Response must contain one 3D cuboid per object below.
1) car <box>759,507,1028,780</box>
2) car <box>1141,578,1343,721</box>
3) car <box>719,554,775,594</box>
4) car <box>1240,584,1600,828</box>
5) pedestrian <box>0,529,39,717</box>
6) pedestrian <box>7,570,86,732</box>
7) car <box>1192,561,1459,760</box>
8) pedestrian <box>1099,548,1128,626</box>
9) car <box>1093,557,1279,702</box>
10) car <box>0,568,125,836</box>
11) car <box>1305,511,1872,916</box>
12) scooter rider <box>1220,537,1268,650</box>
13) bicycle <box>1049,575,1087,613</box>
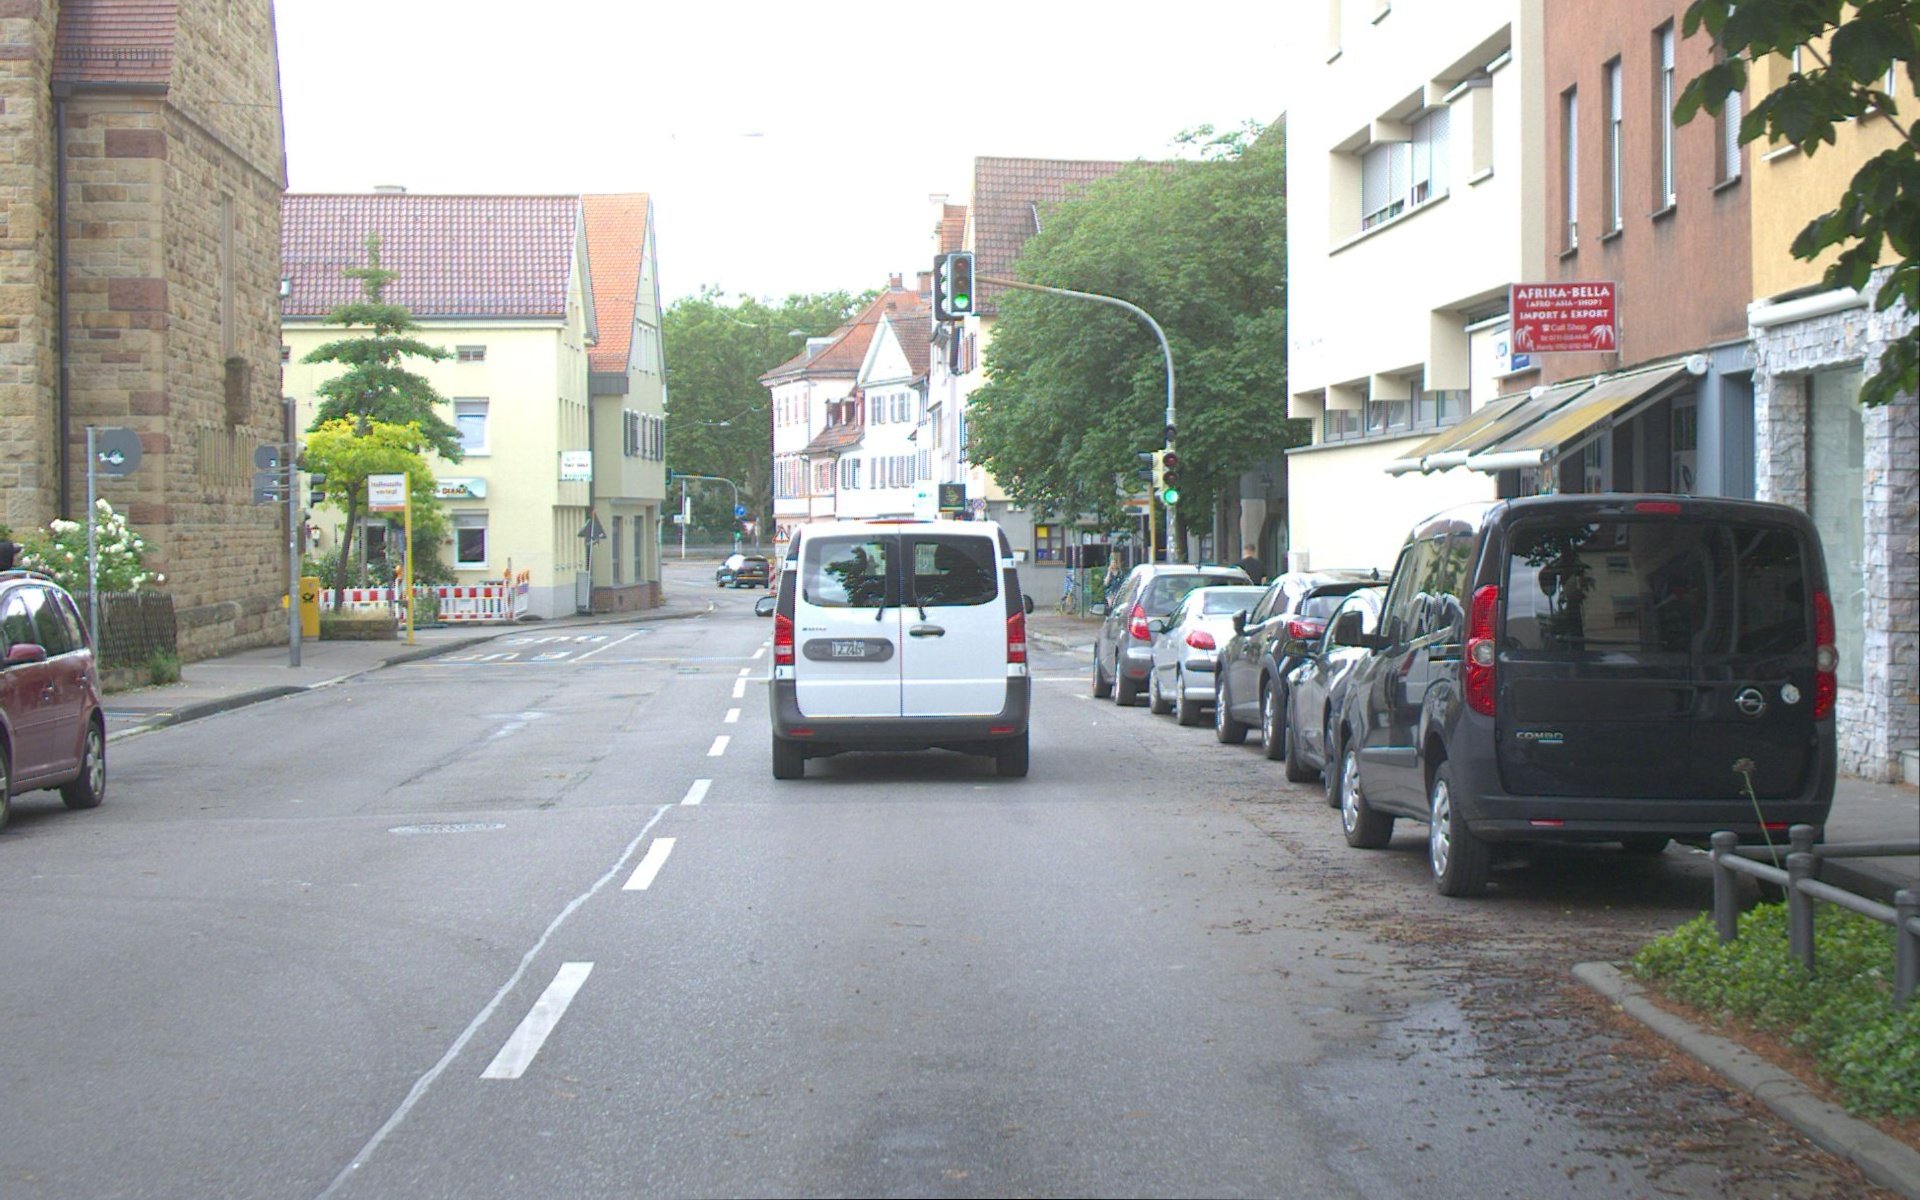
[{"bbox_3d":[-0.492,0.287,26.030,1.872,1.905,4.000,0,1,-1],"label":"car"},{"bbox_3d":[2.787,0.459,34.673,1.551,1.328,3.813,0,1,-3],"label":"car"},{"bbox_3d":[-10.924,-1.349,176.280,1.934,2.007,4.001,0,1,-17],"label":"car"},{"bbox_3d":[3.002,0.637,23.313,1.751,1.401,4.511,-1,1,-1],"label":"car"},{"bbox_3d":[-9.611,0.219,34.346,0.571,1.842,0.697,3,1,-1],"label":"pedestrian"},{"bbox_3d":[-8.927,0.491,33.608,0.571,1.549,0.697,1,1,-1],"label":"pedestrian"},{"bbox_3d":[3.022,0.448,29.179,1.601,1.513,4.210,-1,1,-3],"label":"car"},{"bbox_3d":[3.416,-0.298,76.501,0.602,1.710,0.859,0,1,5],"label":"pedestrian"},{"bbox_3d":[2.533,0.298,39.270,1.711,1.555,3.786,0,1,-3],"label":"car"},{"bbox_3d":[-6.805,0.652,22.481,1.702,1.568,4.451,-2,2,-2],"label":"car"},{"bbox_3d":[2.983,0.463,17.295,1.819,1.775,4.404,0,1,-3],"label":"car"},{"bbox_3d":[4.158,-0.097,50.368,0.452,1.626,0.505,-3,0,-16],"label":"scooter rider"},{"bbox_3d":[3.171,-0.174,100.950,0.499,1.102,1.638,-1,1,-22],"label":"bicycle"}]
